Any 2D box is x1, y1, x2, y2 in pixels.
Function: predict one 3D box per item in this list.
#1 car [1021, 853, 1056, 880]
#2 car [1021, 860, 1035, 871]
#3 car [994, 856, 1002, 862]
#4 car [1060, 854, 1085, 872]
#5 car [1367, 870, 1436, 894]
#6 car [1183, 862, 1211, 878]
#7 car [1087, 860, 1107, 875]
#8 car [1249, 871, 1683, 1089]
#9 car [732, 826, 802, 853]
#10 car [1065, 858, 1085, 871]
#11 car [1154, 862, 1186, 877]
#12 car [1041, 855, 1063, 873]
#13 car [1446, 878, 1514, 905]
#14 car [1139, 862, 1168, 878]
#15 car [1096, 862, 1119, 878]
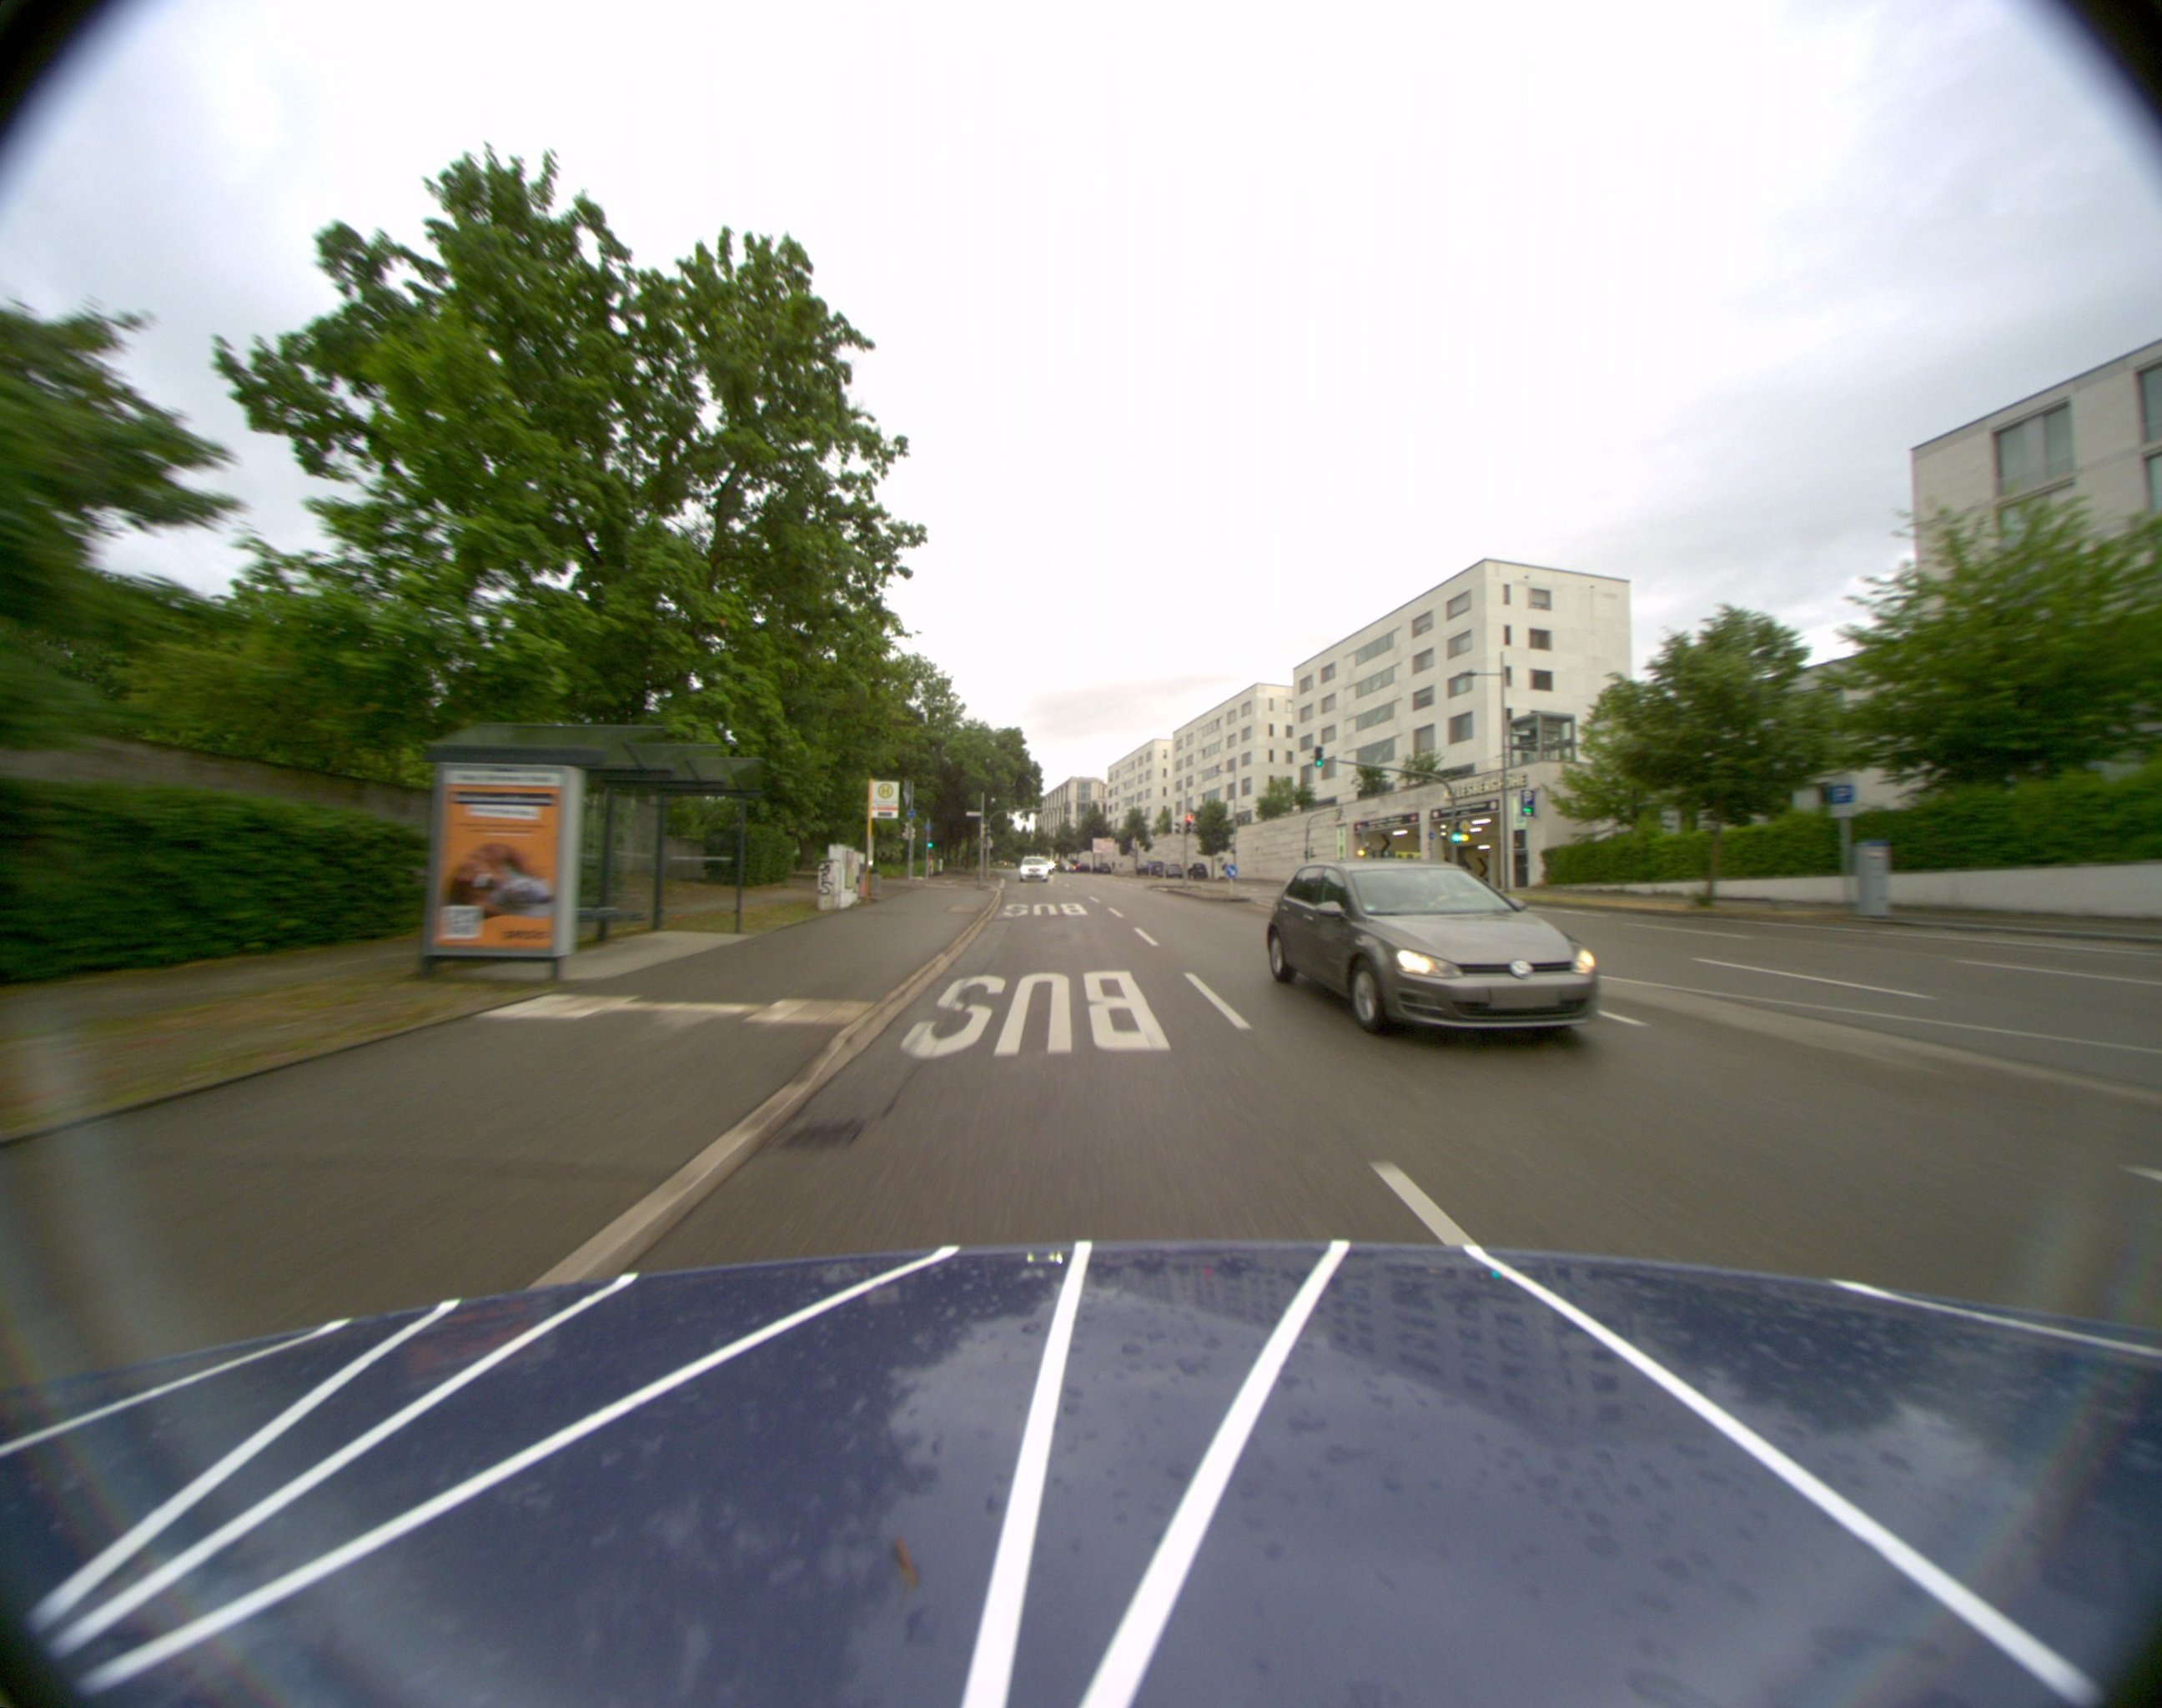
[{"bbox_3d":[-2.729,0.817,47.822,1.928,1.651,3.998,0,-2,-7],"label":"car"},{"bbox_3d":[-9.879,2.102,140.355,2.001,2.001,3.996,1,-1,-12],"label":"car"},{"bbox_3d":[-22.896,1.444,210.180,2.000,1.739,3.996,0,-1,-10],"label":"car"},{"bbox_3d":[-1.037,1.039,87.343,1.926,2.001,4.382,0,-2,-13],"label":"car"},{"bbox_3d":[23.585,2.054,55.947,4.350,1.642,1.997,1,0,-16],"label":"car"},{"bbox_3d":[11.045,1.555,72.584,1.682,1.450,2.692,1,0,-17],"label":"car"},{"bbox_3d":[2.288,1.988,111.059,1.926,2.001,4.382,0,-2,-13],"label":"car"},{"bbox_3d":[3.154,0.916,7.398,1.876,1.432,4.295,0,0,-3],"label":"car"},{"bbox_3d":[-19.388,-0.868,47.114,3.909,1.538,1.878,1,0,-21],"label":"car"},{"bbox_3d":[-0.876,1.494,108.688,1.967,1.828,4.444,1,-1,-12],"label":"car"},{"bbox_3d":[9.085,1.616,78.097,1.865,1.469,3.995,1,-1,-16],"label":"car"},{"bbox_3d":[-2.819,1.025,74.603,1.829,1.583,4.002,-2,-2,3],"label":"car"},{"bbox_3d":[28.151,2.625,53.640,4.002,1.761,1.798,1,0,-13],"label":"car"},{"bbox_3d":[7.832,1.731,82.505,1.791,1.622,3.994,1,-1,-16],"label":"car"},{"bbox_3d":[3.450,2.104,100.235,1.926,2.001,4.382,0,-2,-13],"label":"car"}]
